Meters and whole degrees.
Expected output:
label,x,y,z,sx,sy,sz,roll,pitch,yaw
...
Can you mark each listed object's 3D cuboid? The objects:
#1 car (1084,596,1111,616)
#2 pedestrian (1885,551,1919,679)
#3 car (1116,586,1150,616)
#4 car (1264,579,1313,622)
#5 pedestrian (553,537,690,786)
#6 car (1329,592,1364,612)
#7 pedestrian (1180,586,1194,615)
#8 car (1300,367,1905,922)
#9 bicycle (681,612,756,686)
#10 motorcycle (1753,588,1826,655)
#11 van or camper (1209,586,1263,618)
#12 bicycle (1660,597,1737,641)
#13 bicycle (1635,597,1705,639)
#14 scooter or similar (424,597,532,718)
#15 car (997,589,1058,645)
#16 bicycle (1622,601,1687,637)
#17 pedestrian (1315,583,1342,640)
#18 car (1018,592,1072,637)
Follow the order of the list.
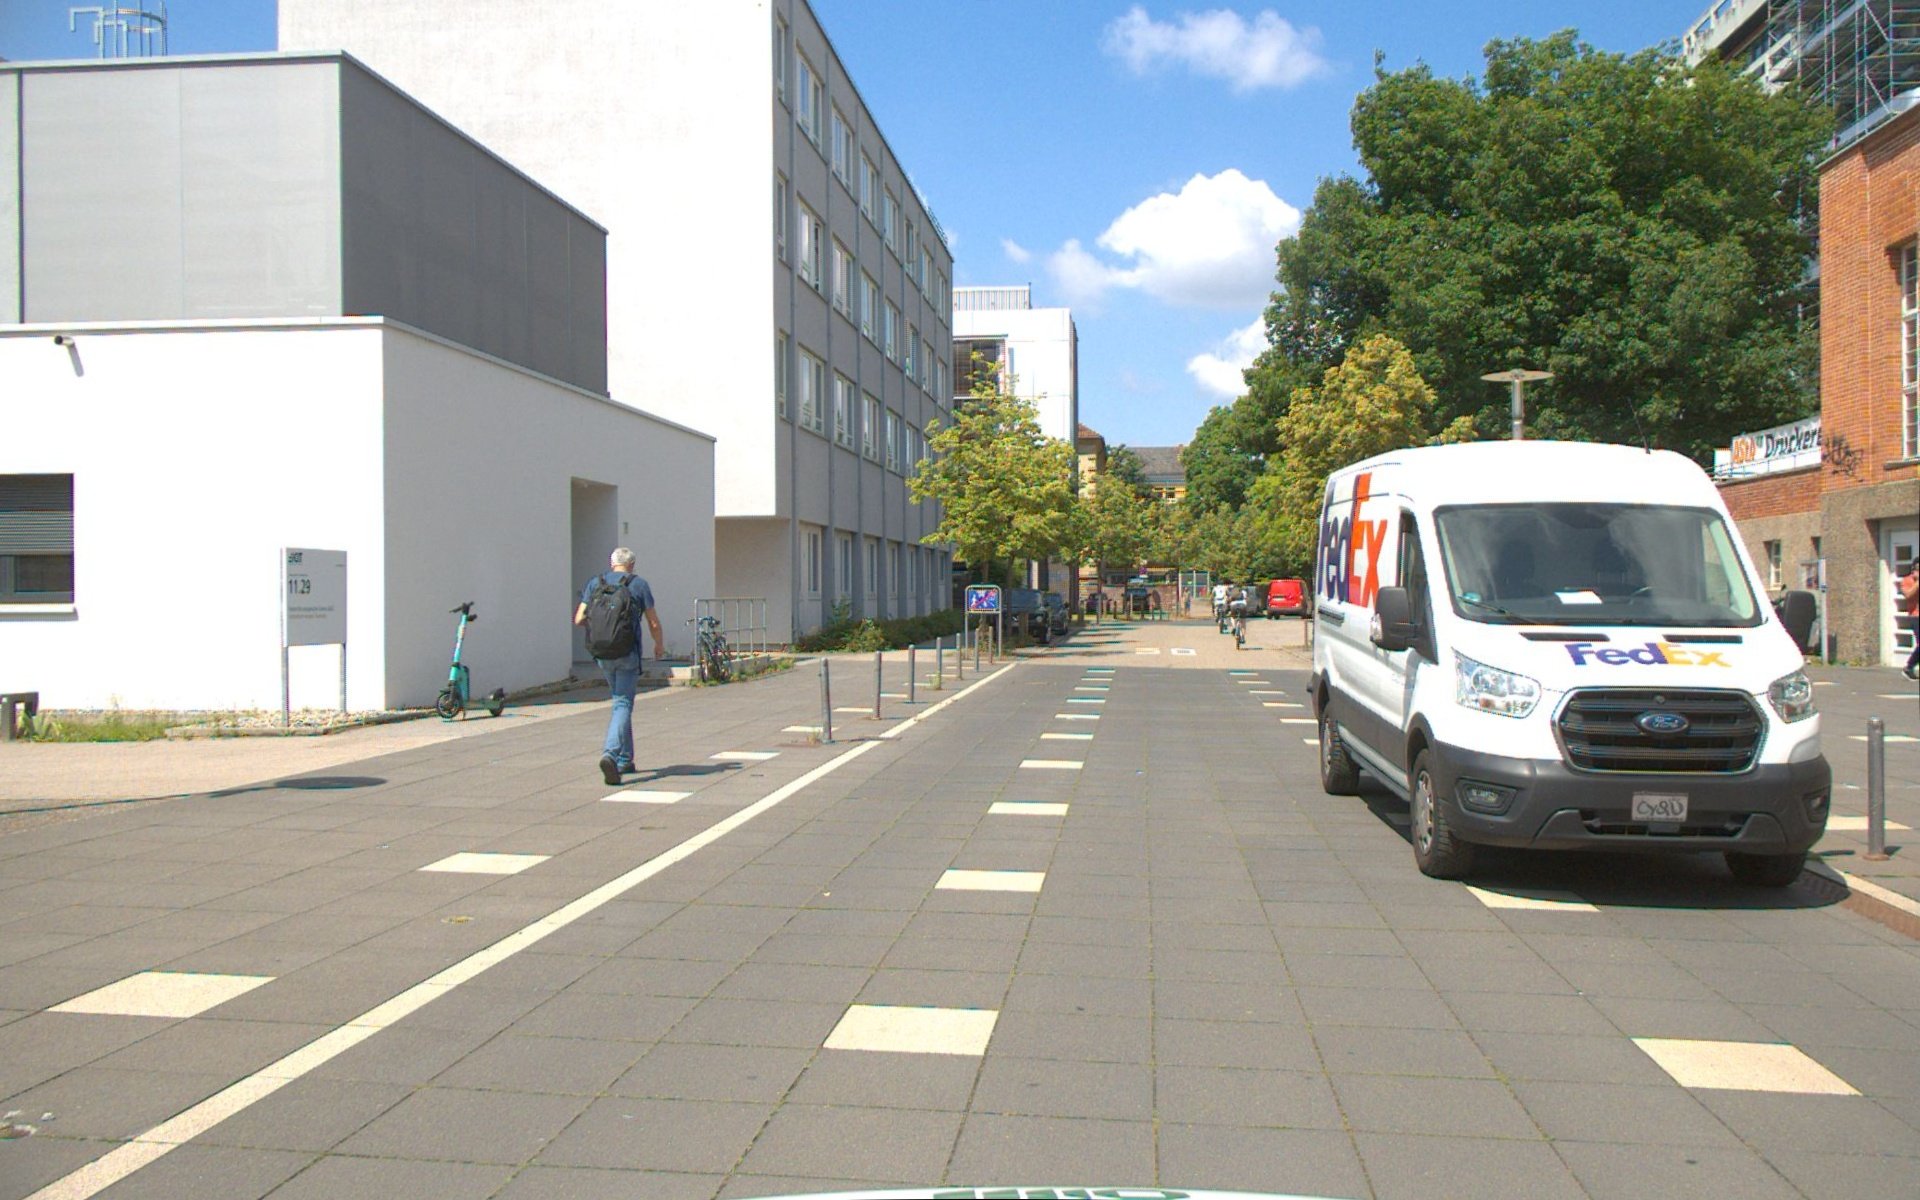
label,x,y,z,sx,sy,sz,roll,pitch,yaw
car,9.431,0.390,113.126,1.779,1.347,3.770,0,0,5
pedestrian,14.312,0.221,24.585,0.649,1.866,0.906,0,0,4
car,11.778,0.052,112.894,2.129,1.959,5.189,0,0,4
car,15.334,0.028,77.141,1.809,1.924,4.893,-1,0,16
pedestrian,-2.609,0.455,12.861,0.806,1.849,1.144,0,0,1
car,29.820,0.146,127.539,1.725,1.548,4.107,0,0,27
pedestrian,14.259,0.045,103.777,0.572,1.795,0.910,-1,0,27
car,3.611,0.197,10.703,2.015,2.588,5.853,-1,0,4
bicycle,-3.688,0.731,25.424,0.531,1.080,1.901,0,0,11
motorcycle,17.280,0.420,34.504,0.681,1.346,2.222,0,0,8
van or camper,17.386,0.114,103.963,1.915,1.957,5.415,1,0,26
bicycle,19.109,0.486,42.821,1.767,1.129,0.448,0,0,7
bicycle,19.258,0.483,44.877,1.665,1.129,0.448,0,0,7
scooter or similar,-5.309,0.610,18.277,0.472,1.285,1.314,0,0,18
car,2.052,0.471,49.557,1.661,1.591,4.070,0,0,5
bicycle,19.802,0.535,47.187,1.636,1.021,0.448,0,0,7
pedestrian,11.129,0.343,49.990,0.628,1.726,0.792,0,0,1
car,3.010,0.477,57.761,1.740,1.486,4.261,1,0,5
